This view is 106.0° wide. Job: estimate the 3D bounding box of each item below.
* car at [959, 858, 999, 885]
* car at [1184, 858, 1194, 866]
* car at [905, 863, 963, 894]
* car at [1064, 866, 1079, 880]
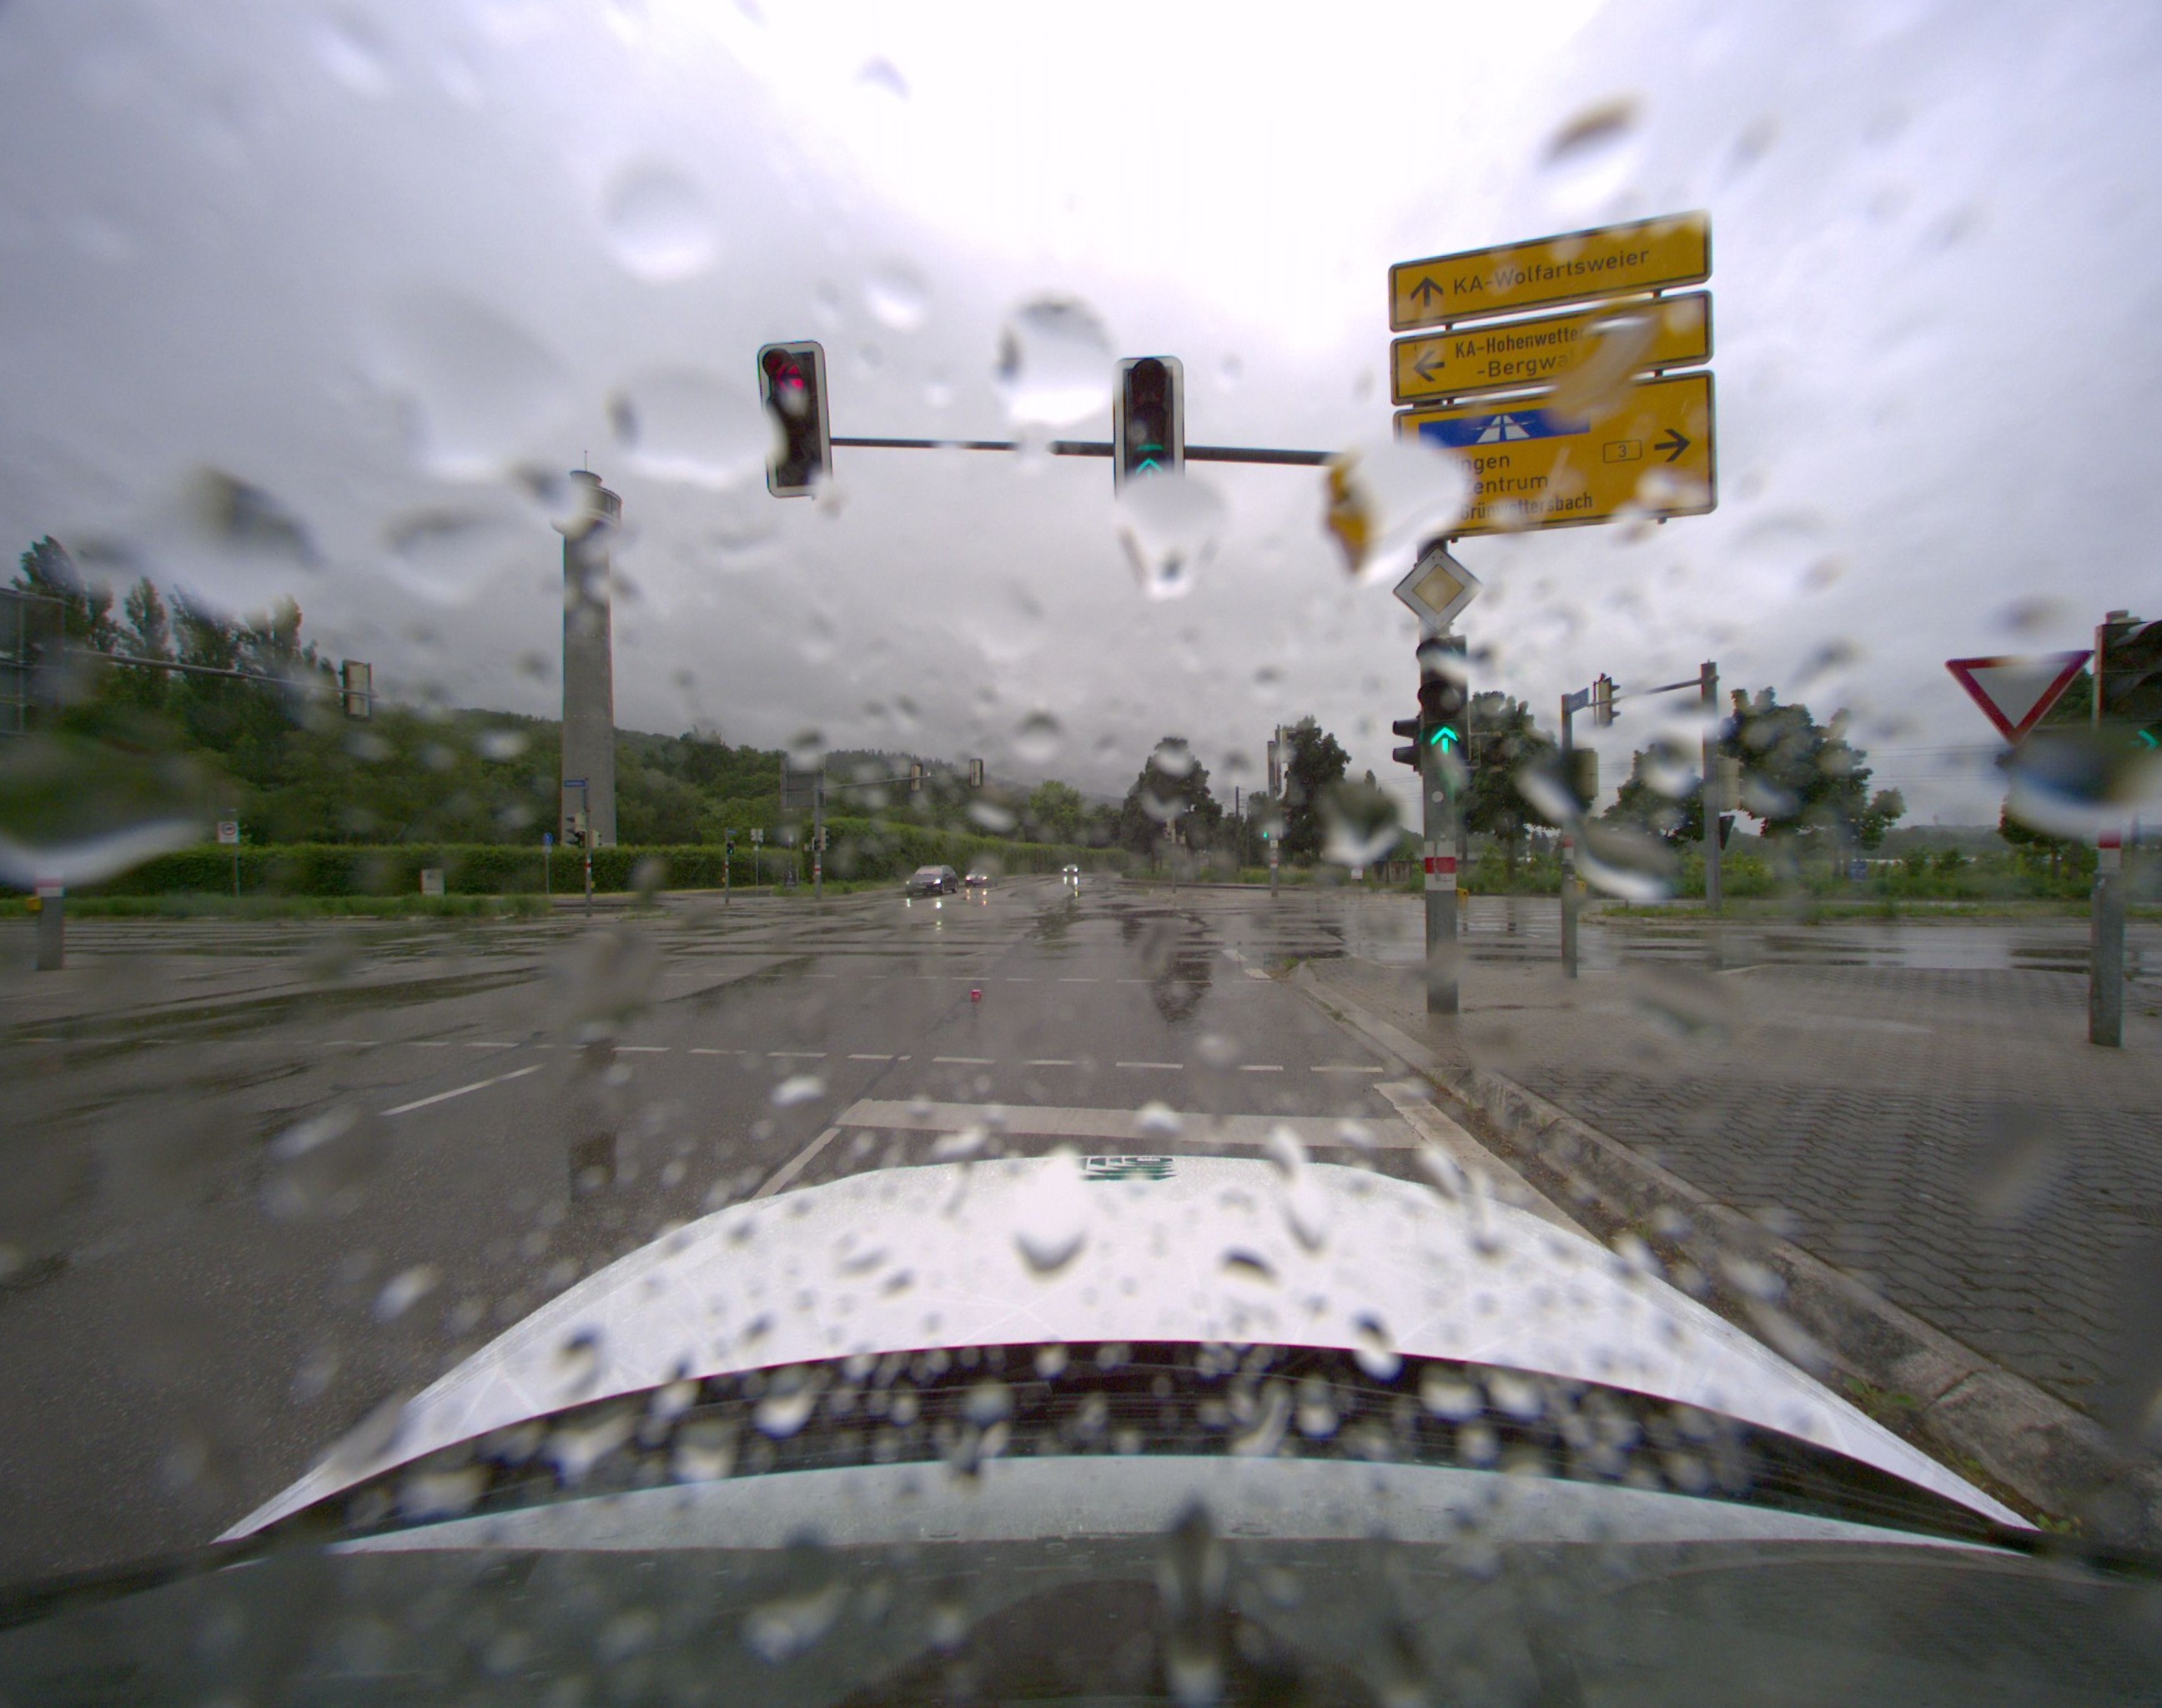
[{"bbox_3d":[-6.711,1.119,53.924,2.029,1.708,4.067,-1,0,2],"label":"car"},{"bbox_3d":[25.909,1.887,195.150,1.939,1.904,4.137,-1,0,15],"label":"car"},{"bbox_3d":[-7.366,1.188,41.173,1.700,1.466,4.459,-1,0,5],"label":"car"},{"bbox_3d":[-1.241,2.404,104.444,1.779,1.504,4.061,2,1,0],"label":"car"}]
